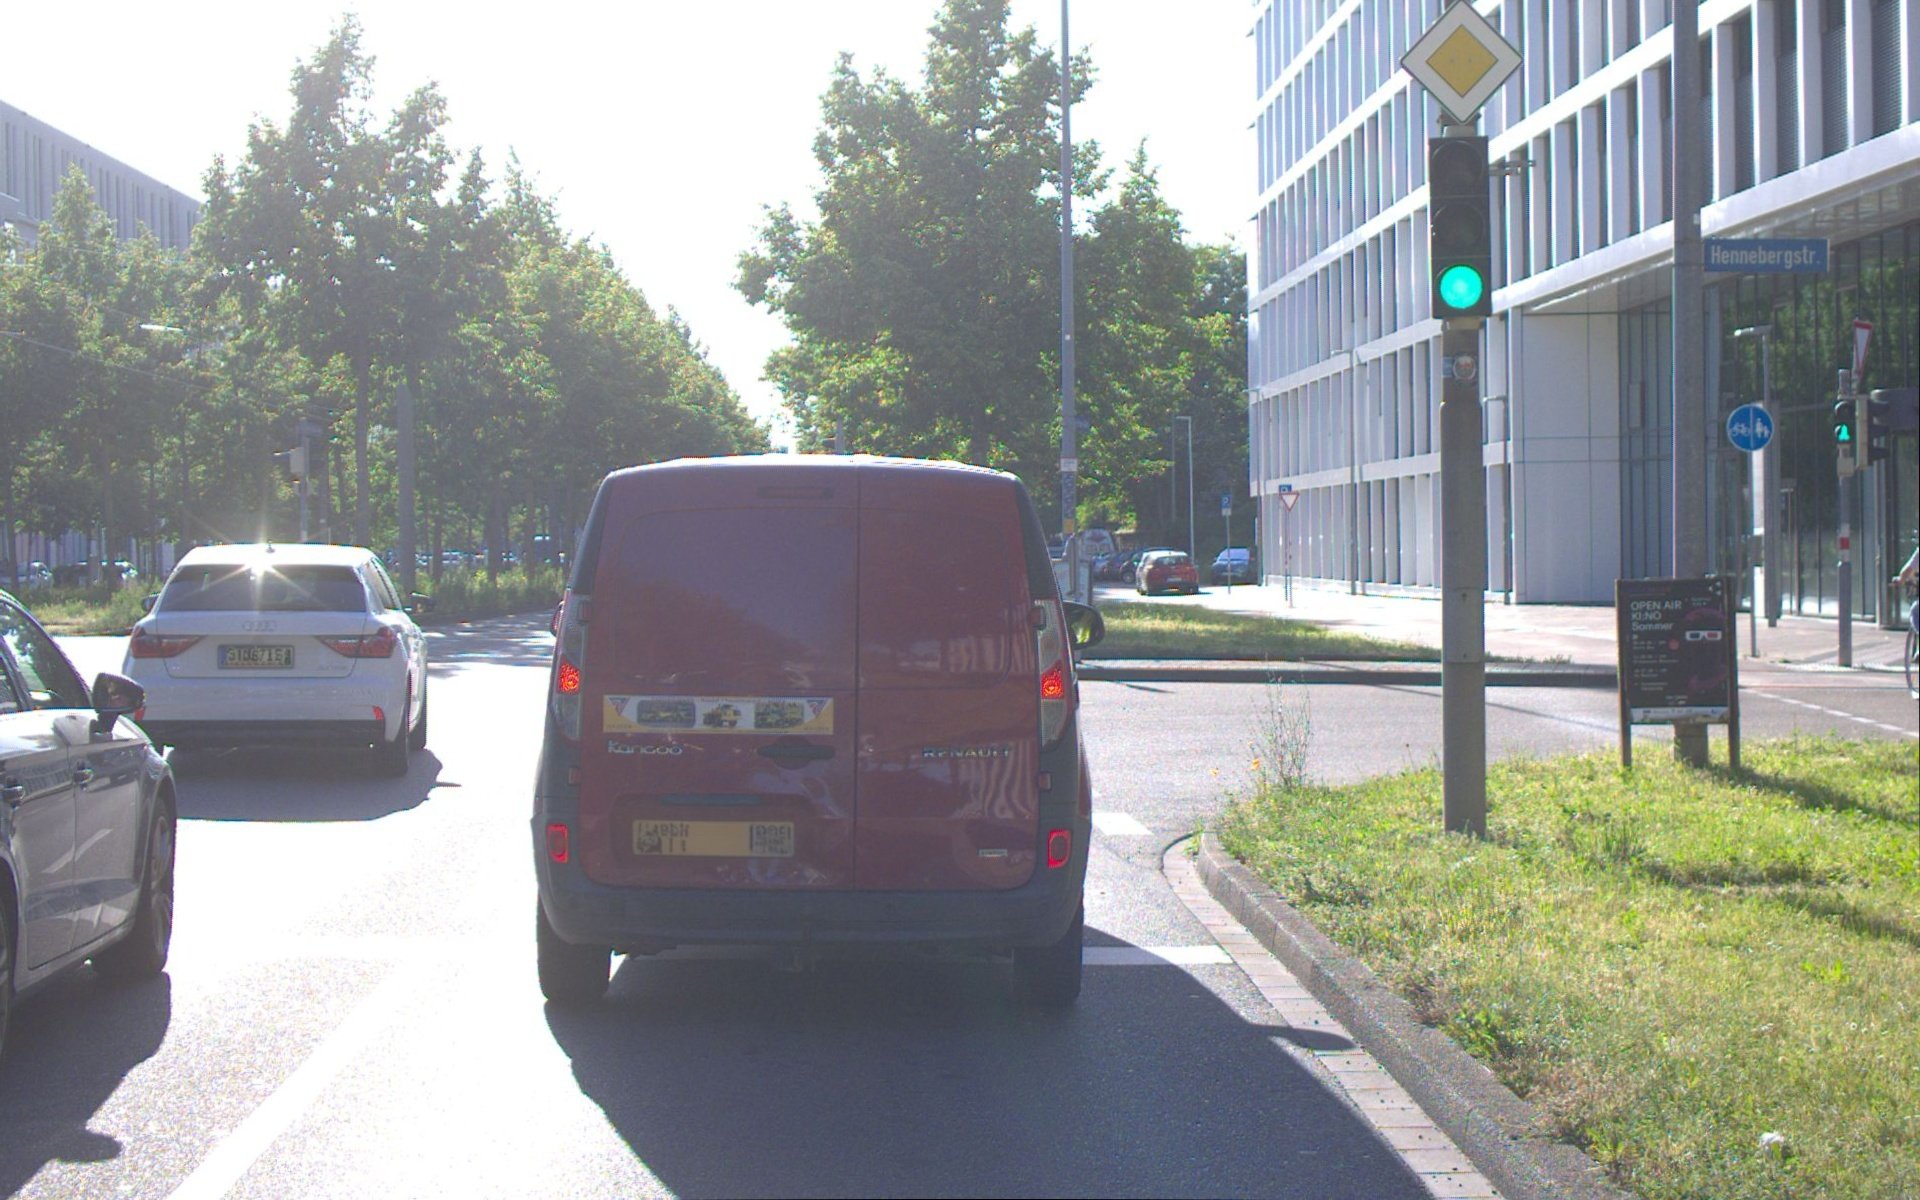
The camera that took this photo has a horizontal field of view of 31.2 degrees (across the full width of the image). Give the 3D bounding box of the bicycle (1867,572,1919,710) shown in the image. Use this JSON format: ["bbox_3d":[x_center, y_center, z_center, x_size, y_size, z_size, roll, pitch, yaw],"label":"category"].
[{"bbox_3d":[8.598,0.347,30.130,0.741,1.170,1.961,-1,1,-1],"label":"bicycle"}]

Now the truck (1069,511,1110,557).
[{"bbox_3d":[7.163,-3.630,190.551,1.831,2.492,5.933,0,1,-2],"label":"truck"}]

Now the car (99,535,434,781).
[{"bbox_3d":[-4.389,0.302,22.276,1.807,1.430,4.114,-1,1,-7],"label":"car"}]

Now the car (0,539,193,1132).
[{"bbox_3d":[-3.457,0.592,9.950,1.808,1.522,4.113,-1,1,-4],"label":"car"}]

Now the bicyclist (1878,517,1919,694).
[{"bbox_3d":[8.547,0.031,30.064,0.771,1.526,0.850,-1,1,-1],"label":"bicyclist"}]

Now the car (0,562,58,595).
[{"bbox_3d":[-38.208,-0.884,141.011,1.580,1.337,3.712,-1,1,-2],"label":"car"}]

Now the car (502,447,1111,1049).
[{"bbox_3d":[-0.474,0.405,12.347,1.808,1.788,4.113,0,1,0],"label":"car"}]

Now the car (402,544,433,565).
[{"bbox_3d":[-40.604,-3.428,257.353,1.755,1.568,4.000,-1,1,-2],"label":"car"}]

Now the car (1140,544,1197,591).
[{"bbox_3d":[7.251,-1.150,119.852,1.758,1.606,3.903,0,1,0],"label":"car"}]
